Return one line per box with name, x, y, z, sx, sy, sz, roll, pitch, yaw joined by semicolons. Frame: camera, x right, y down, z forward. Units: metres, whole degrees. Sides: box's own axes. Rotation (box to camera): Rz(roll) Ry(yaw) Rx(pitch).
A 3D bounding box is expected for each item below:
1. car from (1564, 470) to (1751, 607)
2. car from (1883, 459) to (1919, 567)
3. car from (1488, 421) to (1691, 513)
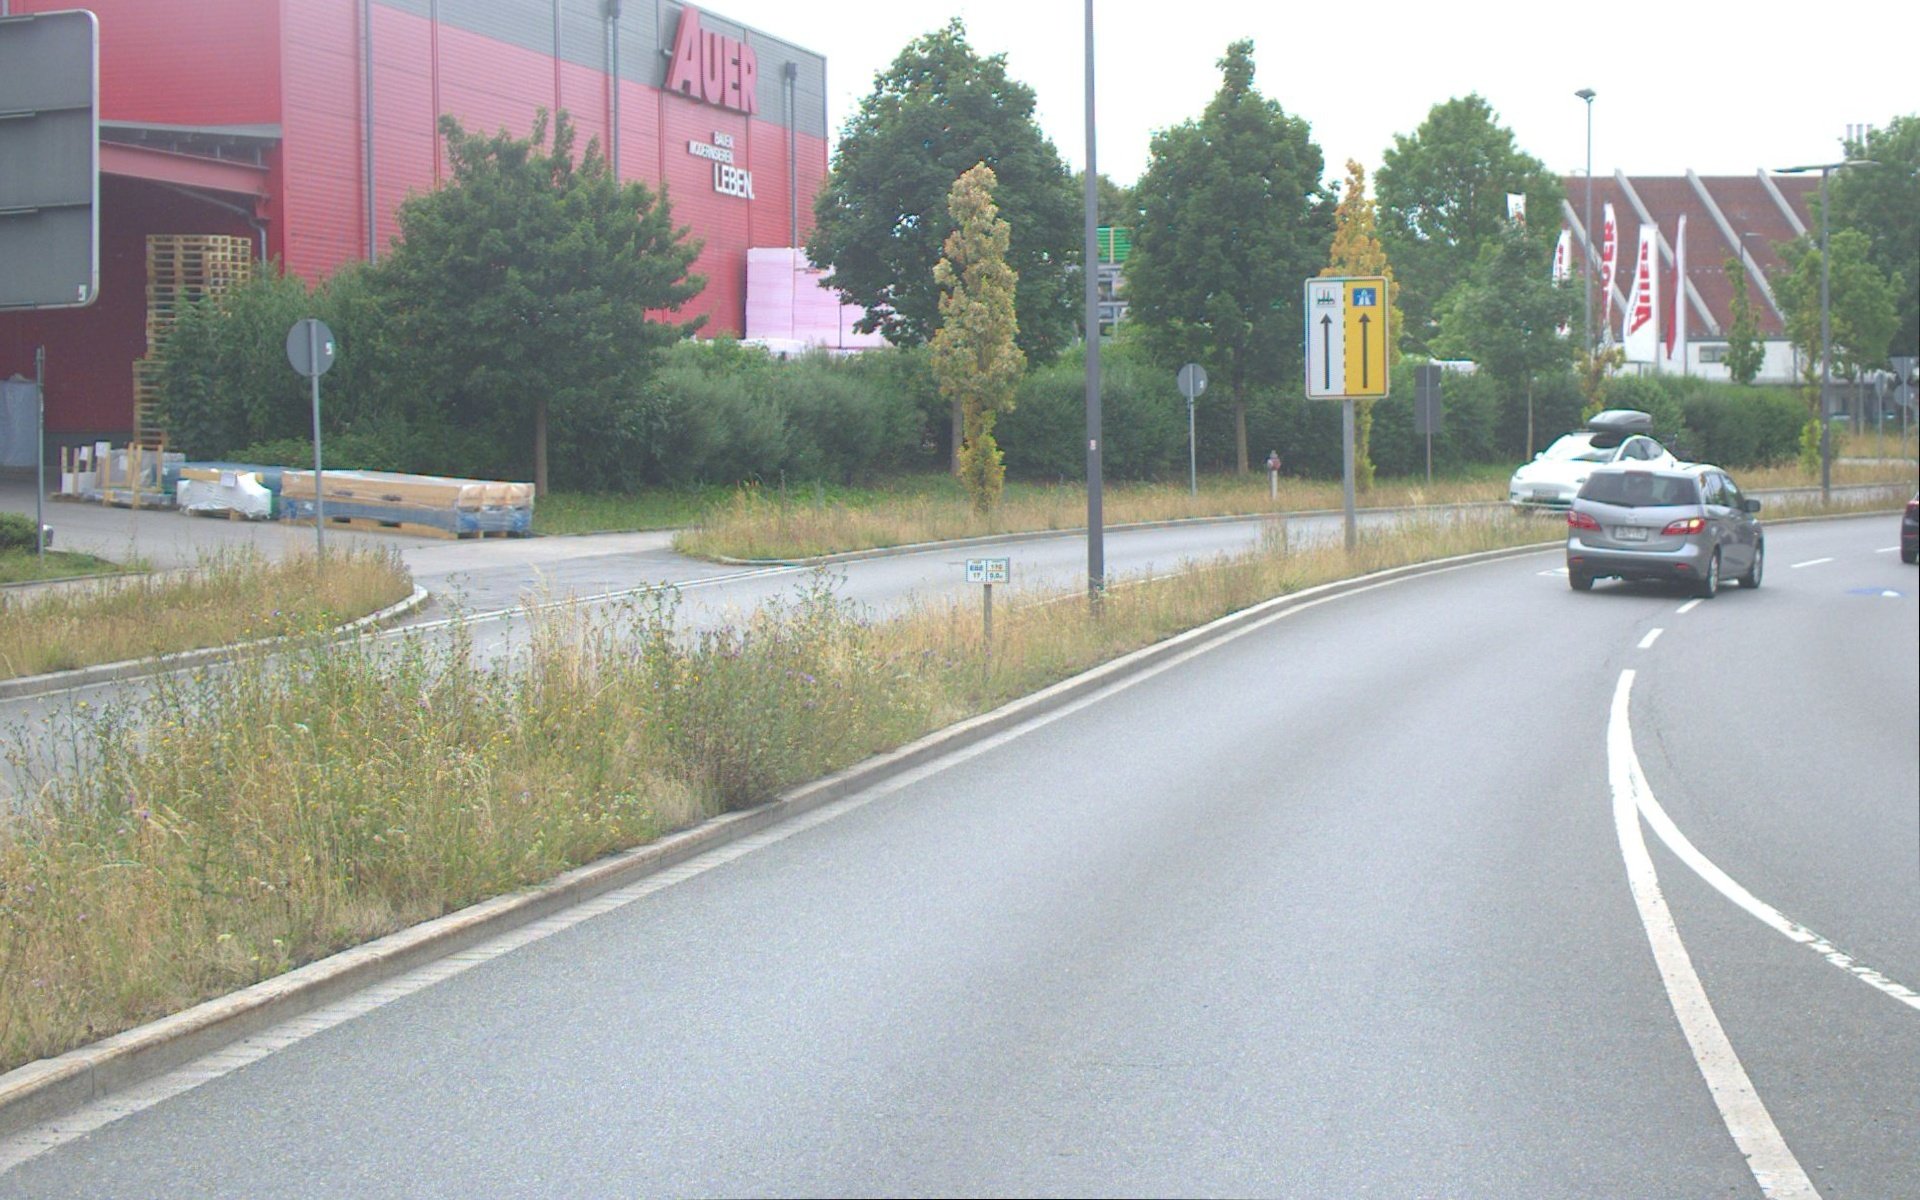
car;8.676;-0.789;42.557;1.769;1.611;3.918;1;2;19
car;15.450;-1.334;52.573;1.872;1.599;3.729;1;2;26
car;12.228;-2.583;66.580;1.913;1.620;4.628;6;5;37
